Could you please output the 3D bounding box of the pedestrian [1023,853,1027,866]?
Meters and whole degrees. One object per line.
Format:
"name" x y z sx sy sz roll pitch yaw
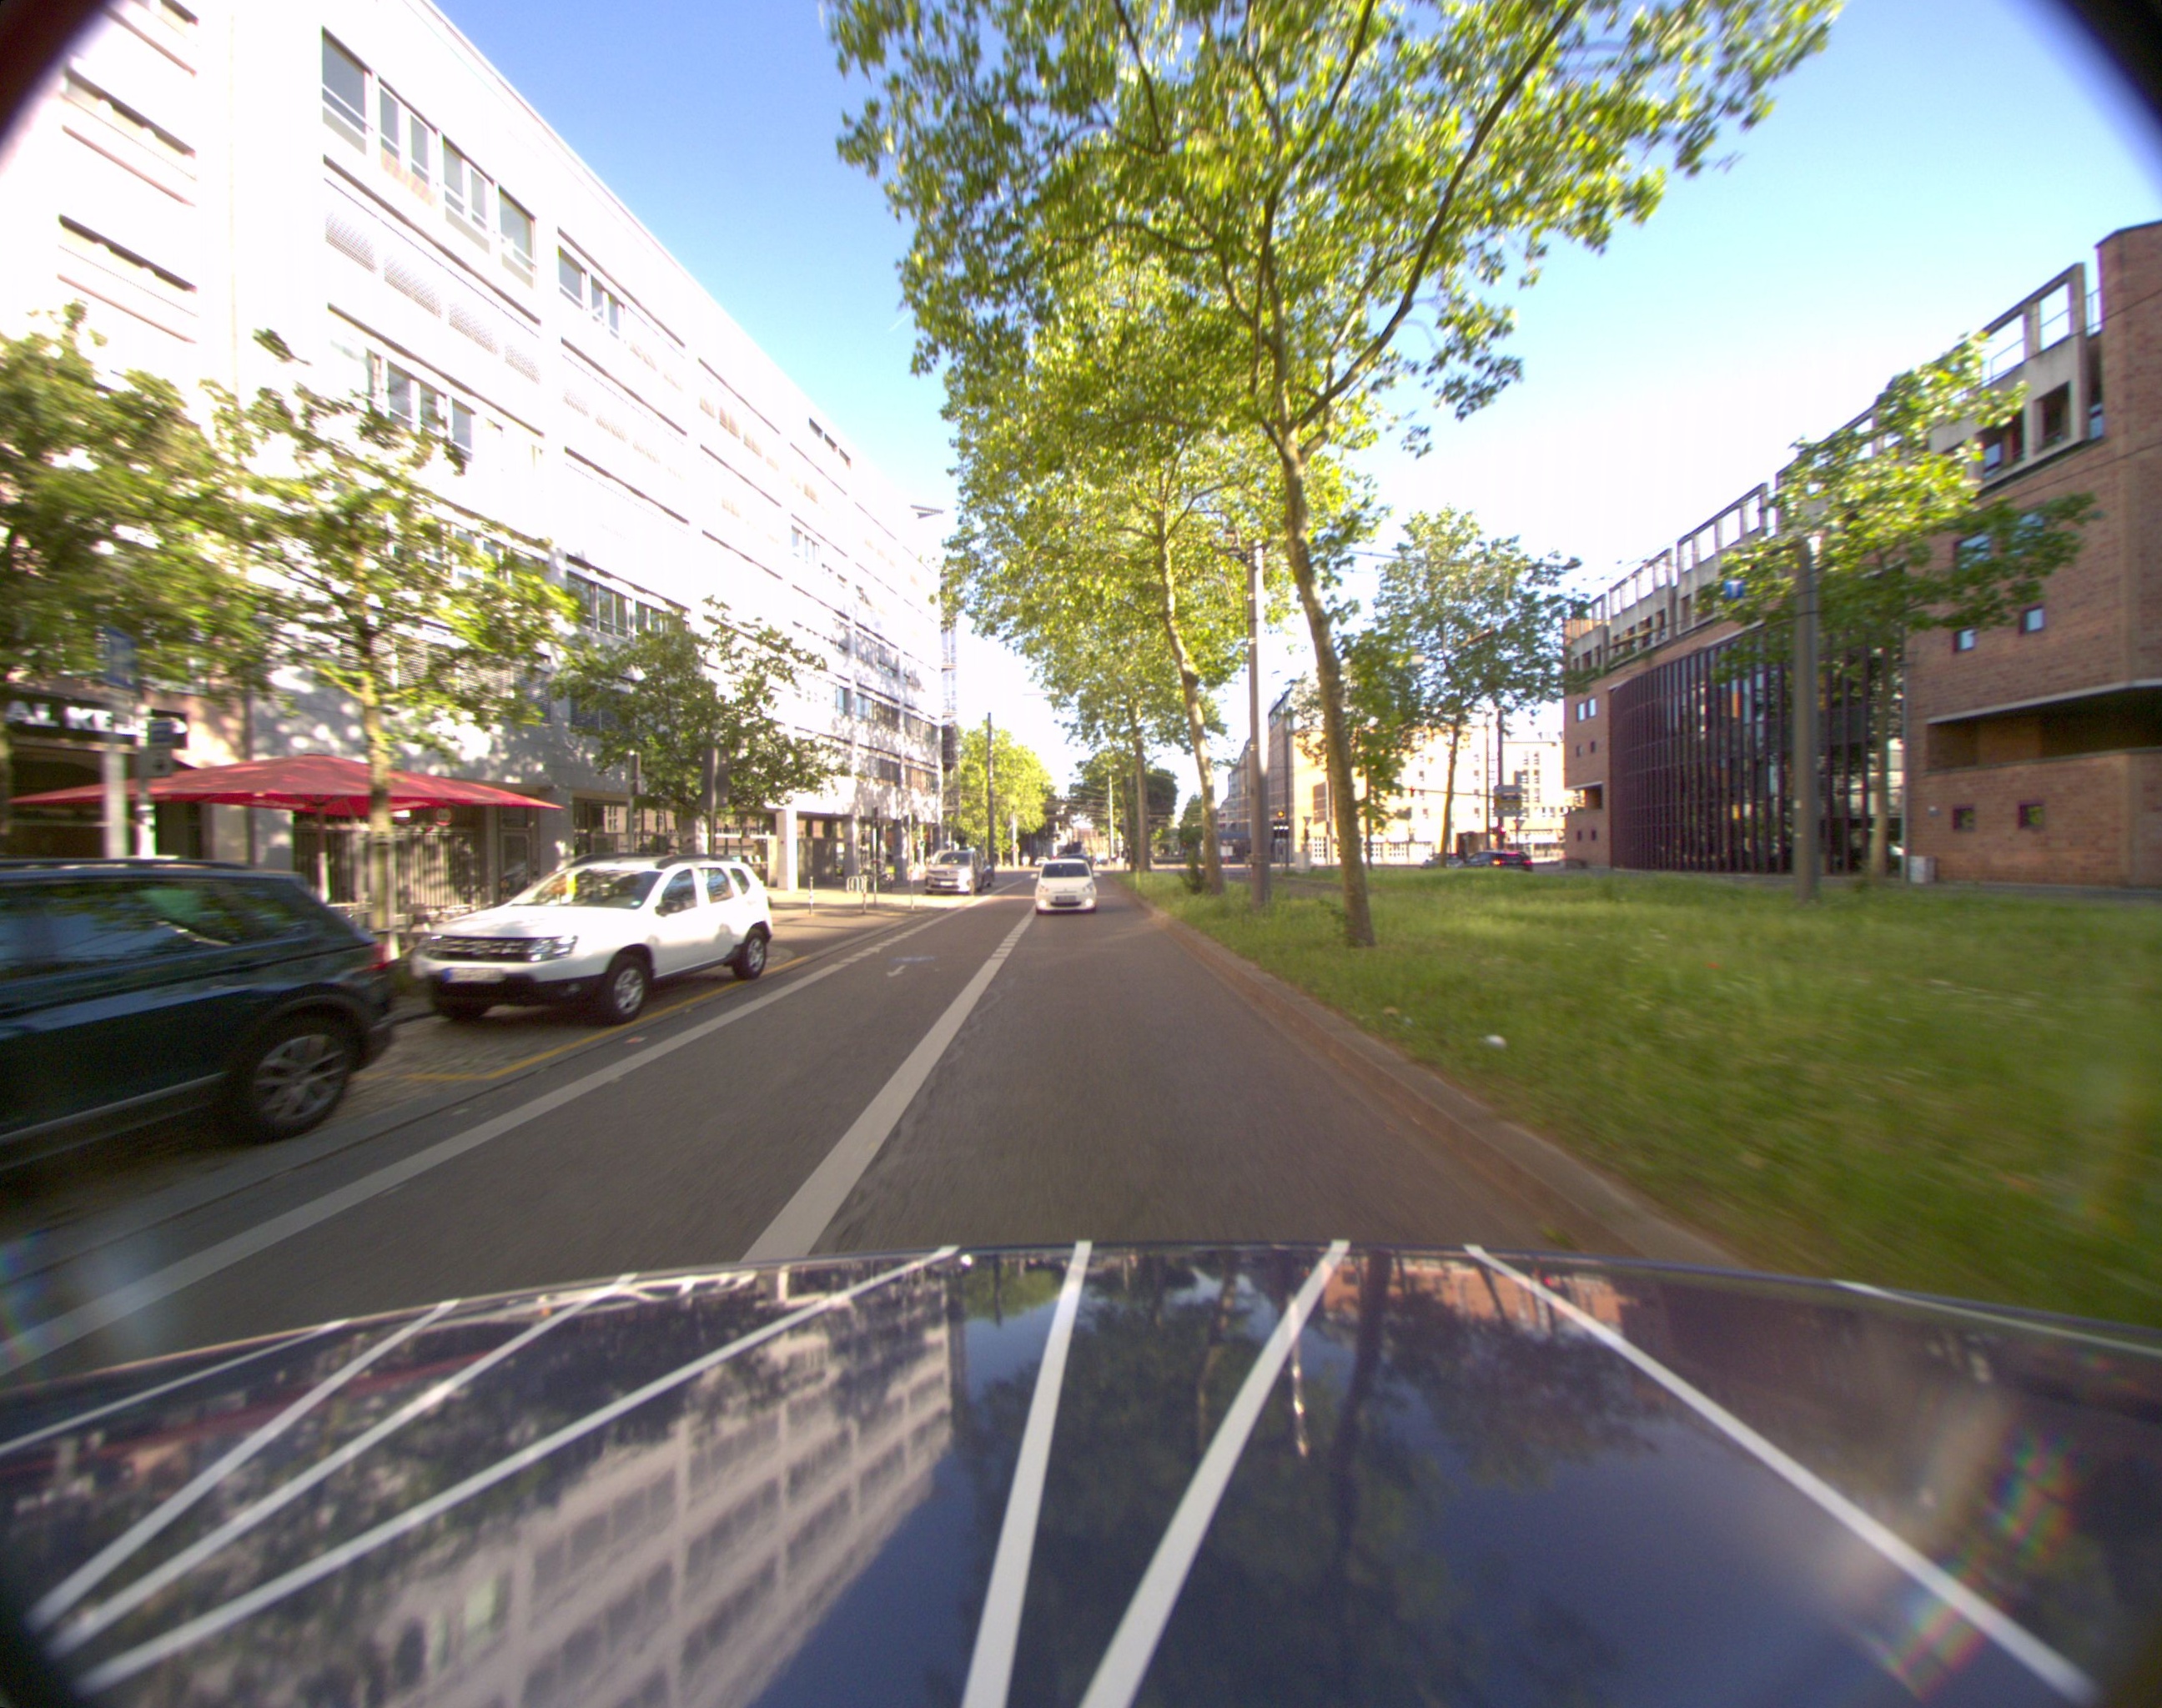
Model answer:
"pedestrian" -8.468 0.795 114.886 0.655 2.002 0.647 -1 1 -1

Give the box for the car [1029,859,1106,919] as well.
"car" -0.289 0.924 22.152 1.720 1.442 4.426 -4 0 5

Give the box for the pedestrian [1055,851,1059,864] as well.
"pedestrian" -3.619 0.536 115.083 0.614 2.002 0.530 -1 1 -1

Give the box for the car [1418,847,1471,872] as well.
"car" 21.799 0.334 45.659 1.617 1.421 3.221 -1 0 -1

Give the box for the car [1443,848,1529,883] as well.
"car" 18.099 0.488 34.184 1.617 1.421 4.149 -1 0 -1

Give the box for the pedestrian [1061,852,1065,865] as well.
"pedestrian" -2.942 0.695 123.044 0.653 2.002 0.742 -1 1 -1

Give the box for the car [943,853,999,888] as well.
"car" -5.483 0.789 38.253 1.921 1.631 4.018 1 0 5

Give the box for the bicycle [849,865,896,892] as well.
"bicycle" -8.908 1.063 32.507 1.777 1.100 0.666 -1 1 -1

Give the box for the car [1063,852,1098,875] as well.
"car" -0.002 0.661 57.267 1.997 1.626 4.455 -1 0 8

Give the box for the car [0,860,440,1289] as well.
"car" -5.317 0.911 2.891 1.802 1.714 4.575 1 0 2

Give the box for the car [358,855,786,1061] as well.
"car" -5.203 0.888 8.691 1.802 1.714 4.460 1 0 2

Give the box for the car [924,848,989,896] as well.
"car" -5.238 0.706 32.628 1.922 1.894 4.861 1 0 1

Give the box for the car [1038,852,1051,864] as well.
"car" -5.615 0.603 117.475 1.865 1.724 4.018 -1 0 -1

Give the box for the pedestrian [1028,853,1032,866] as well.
"pedestrian" -7.774 0.855 115.728 0.614 2.002 0.530 -1 1 -1
